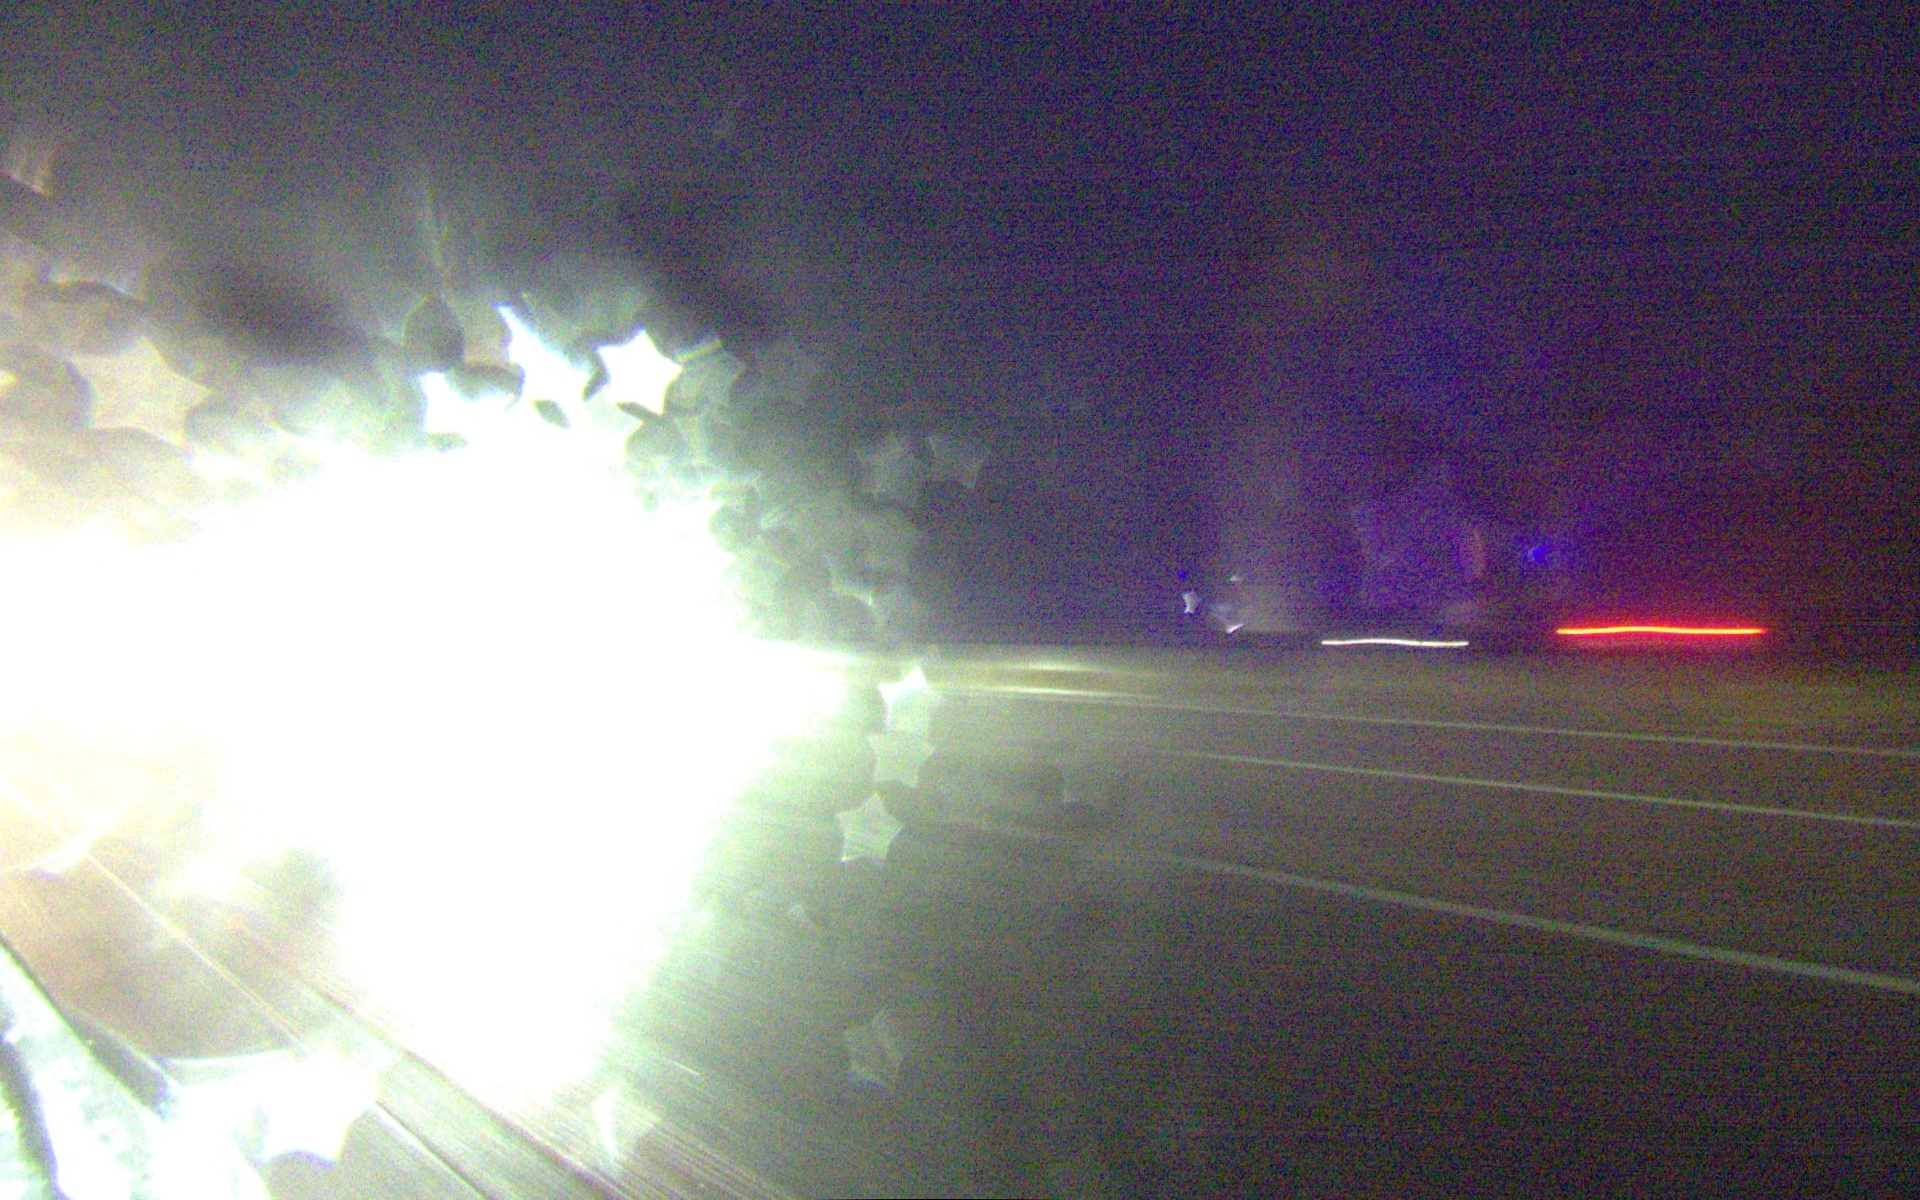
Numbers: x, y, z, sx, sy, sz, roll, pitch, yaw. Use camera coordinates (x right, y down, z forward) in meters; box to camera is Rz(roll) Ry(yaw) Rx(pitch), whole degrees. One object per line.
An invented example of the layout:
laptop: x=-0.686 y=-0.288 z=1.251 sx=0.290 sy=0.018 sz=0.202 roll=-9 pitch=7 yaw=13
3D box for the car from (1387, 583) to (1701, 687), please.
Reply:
car: x=9.963 y=0.541 z=17.459 sx=4.456 sy=1.569 sz=1.861 roll=-1 pitch=0 yaw=40

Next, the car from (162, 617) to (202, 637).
car: x=-71.611 y=2.457 z=93.106 sx=4.557 sy=1.734 sz=1.862 roll=-1 pitch=0 yaw=38

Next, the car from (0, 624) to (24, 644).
car: x=-78.495 y=2.794 z=83.104 sx=4.586 sy=1.572 sz=1.972 roll=-1 pitch=0 yaw=42

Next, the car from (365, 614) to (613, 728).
car: x=-7.202 y=0.954 z=15.335 sx=3.998 sy=1.452 sz=1.973 roll=-1 pitch=0 yaw=41

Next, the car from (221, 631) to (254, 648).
car: x=-79.275 y=4.270 z=111.025 sx=4.559 sy=1.734 sz=1.861 roll=-1 pitch=0 yaw=40

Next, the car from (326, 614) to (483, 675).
car: x=-15.280 y=1.149 z=27.720 sx=5.159 sy=1.487 sz=1.974 roll=-1 pitch=0 yaw=39

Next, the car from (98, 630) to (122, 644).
car: x=-115.839 y=4.977 z=137.868 sx=4.562 sy=1.734 sz=1.860 roll=-1 pitch=0 yaw=42

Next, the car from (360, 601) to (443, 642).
car: x=-27.316 y=1.019 z=49.419 sx=5.056 sy=1.857 sz=1.861 roll=-1 pitch=0 yaw=40

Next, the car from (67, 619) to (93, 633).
car: x=-115.286 y=3.418 z=132.548 sx=4.559 sy=1.734 sz=1.861 roll=-1 pitch=0 yaw=40
